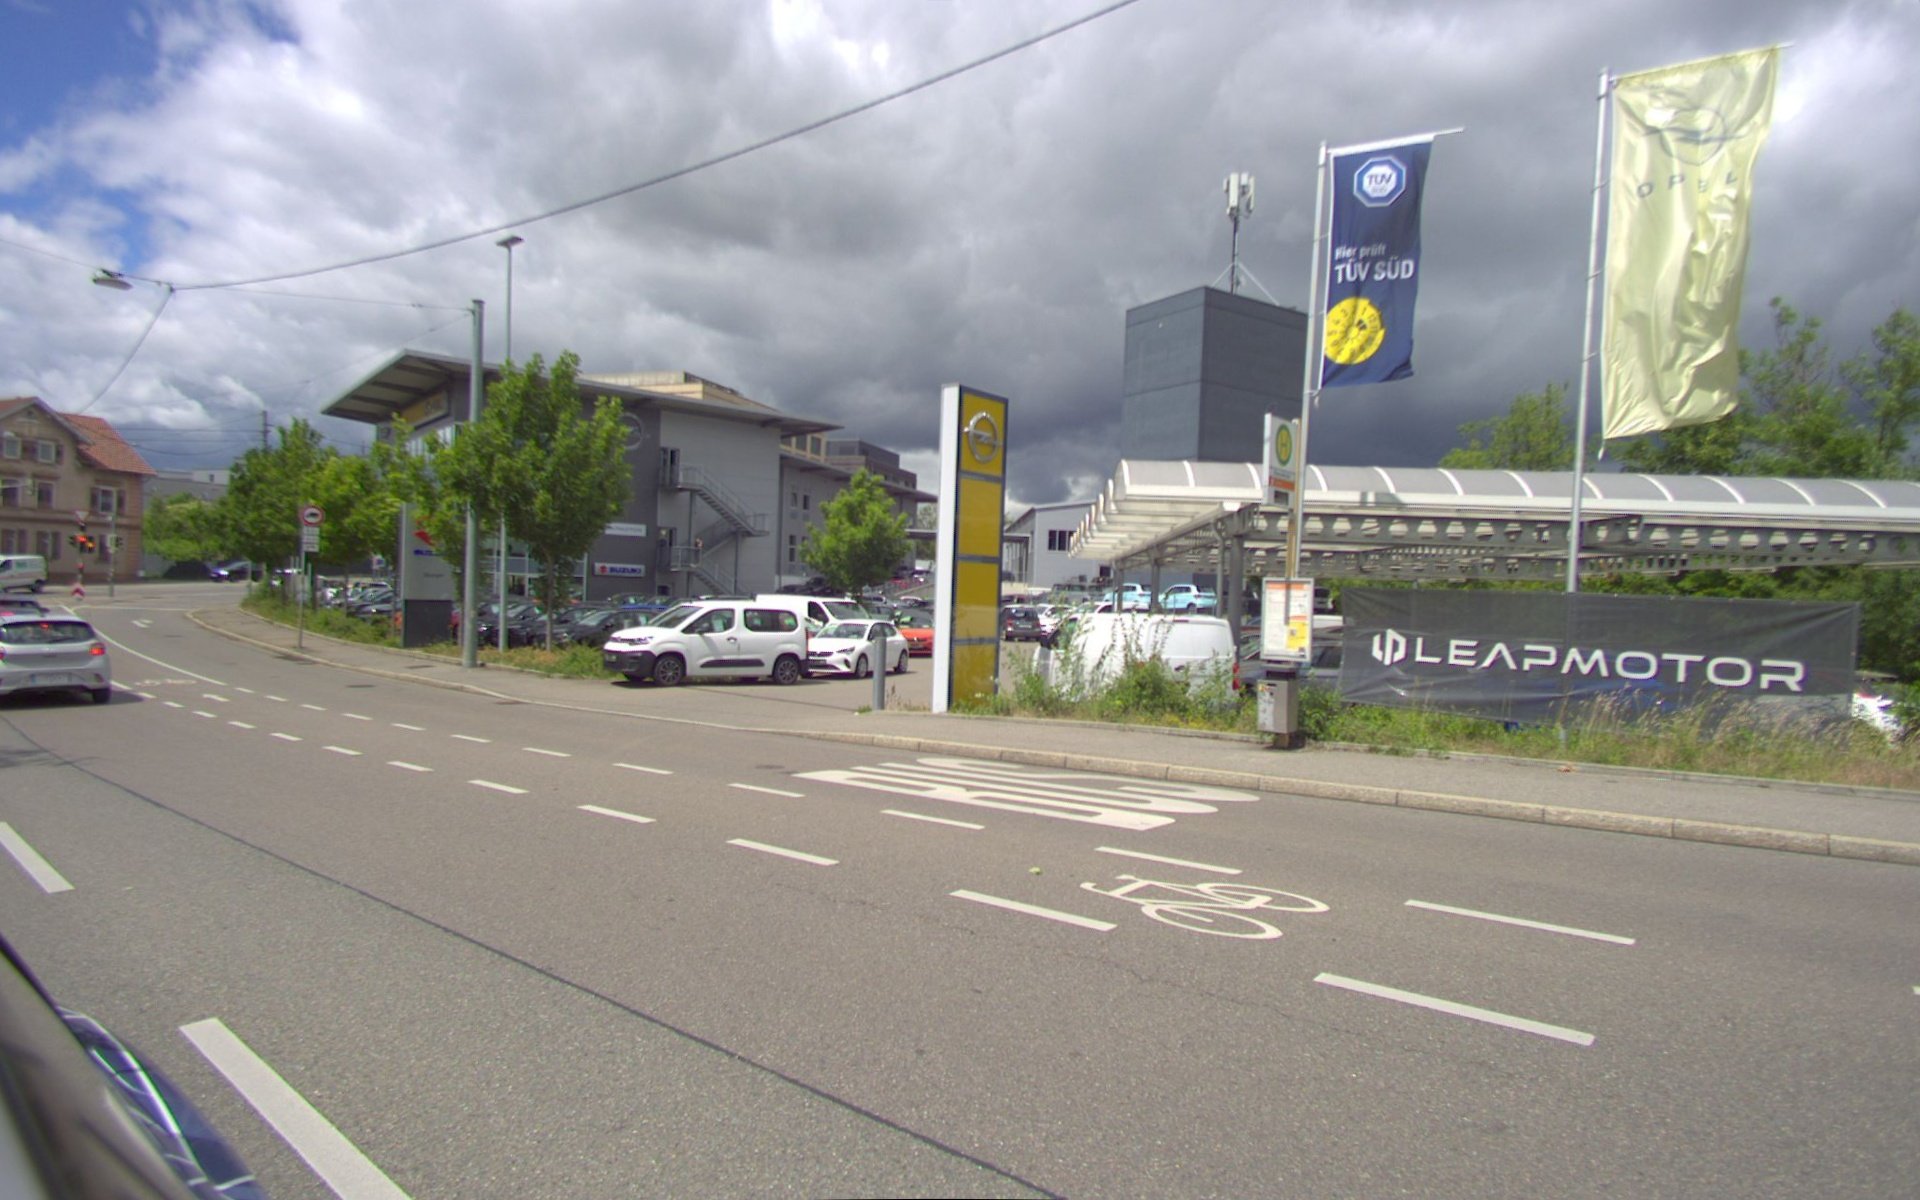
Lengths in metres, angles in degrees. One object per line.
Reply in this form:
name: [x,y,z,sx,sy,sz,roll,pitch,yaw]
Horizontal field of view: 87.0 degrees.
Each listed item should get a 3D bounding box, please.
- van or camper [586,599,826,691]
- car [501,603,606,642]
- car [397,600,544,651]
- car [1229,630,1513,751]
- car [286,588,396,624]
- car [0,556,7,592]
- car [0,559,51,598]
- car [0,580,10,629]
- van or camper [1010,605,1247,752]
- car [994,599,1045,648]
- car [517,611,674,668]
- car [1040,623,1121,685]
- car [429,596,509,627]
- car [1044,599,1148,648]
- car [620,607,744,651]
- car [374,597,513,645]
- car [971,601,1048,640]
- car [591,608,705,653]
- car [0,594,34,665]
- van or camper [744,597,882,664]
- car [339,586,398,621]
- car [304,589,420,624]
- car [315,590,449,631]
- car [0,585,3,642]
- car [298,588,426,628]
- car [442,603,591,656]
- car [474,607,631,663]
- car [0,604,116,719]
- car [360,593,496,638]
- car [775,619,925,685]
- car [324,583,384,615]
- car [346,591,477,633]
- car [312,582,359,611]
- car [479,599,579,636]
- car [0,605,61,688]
van or camper: [-5.376,0.912,21.805,4.613,1.763,2.002,1,-1,-44]
car: [-15.113,0.844,37.702,1.517,1.384,3.280,1,-1,42]
car: [-15.625,0.812,32.422,1.812,1.509,3.808,1,-1,41]
car: [6.326,1.317,16.070,1.786,1.477,4.014,1,1,-25]
car: [-27.960,0.277,45.766,3.940,1.509,1.814,2,-1,-44]
car: [-56.815,-1.400,56.575,1.984,2.026,4.788,1,4,19]
car: [-50.706,-1.129,53.041,1.969,2.007,4.997,0,3,-6]
car: [-34.943,0.129,35.925,1.699,1.593,4.003,-1,3,-44]
van or camper: [2.549,1.113,16.827,1.956,1.978,4.973,0,0,-16]
car: [2.739,1.038,47.514,1.970,1.962,4.004,0,3,-3]
car: [-9.893,1.040,27.650,1.792,1.420,3.664,1,-1,36]
car: [3.225,1.417,27.738,1.793,1.477,3.777,1,0,1]
car: [-22.783,0.535,47.043,1.518,1.384,2.977,1,-1,43]
car: [6.587,1.100,48.780,4.754,2.028,2.006,-2,4,-31]
car: [-8.583,0.906,31.426,1.545,1.263,3.426,1,-1,42]
car: [-17.485,0.706,34.378,1.812,1.509,3.785,1,-1,42]
car: [2.726,1.065,55.234,3.938,1.824,2.003,-3,4,-41]
car: [-10.246,0.980,33.388,1.517,1.384,3.280,1,-1,42]
car: [-25.380,0.726,26.357,1.699,1.593,4.254,-1,3,-44]
van or camper: [-4.917,0.948,33.433,4.685,2.029,1.972,1,-1,42]
car: [-29.886,0.121,51.062,1.918,1.574,4.003,-1,3,-40]
car: [-25.987,0.299,44.073,4.019,1.405,1.814,2,-1,-44]
car: [-22.776,0.437,39.994,1.812,1.509,4.232,1,-1,42]
car: [-30.057,0.368,30.473,1.699,1.593,4.322,-2,3,-44]
car: [-24.494,0.342,41.530,1.812,1.509,4.161,1,-1,42]
car: [-13.563,0.888,31.089,1.811,1.509,3.776,1,-1,39]
car: [-11.667,0.973,29.138,1.772,1.472,3.794,1,-1,40]
car: [-16.102,0.970,17.505,3.999,1.593,1.701,3,3,41]
car: [-19.133,0.580,36.491,1.812,1.509,3.938,1,-1,42]
car: [-2.726,1.269,26.270,2.000,1.447,4.489,1,0,22]
car: [-32.714,-0.089,54.581,1.919,1.574,4.311,-1,3,-42]
car: [-20.824,0.474,38.518,1.812,1.509,4.011,1,-1,42]
car: [-35.818,-0.219,58.024,1.917,1.485,4.316,-1,3,-37]
car: [-16.953,0.684,39.904,1.517,1.384,3.280,1,-1,42]
car: [-20.243,0.929,21.197,3.322,1.495,1.701,3,3,41]
